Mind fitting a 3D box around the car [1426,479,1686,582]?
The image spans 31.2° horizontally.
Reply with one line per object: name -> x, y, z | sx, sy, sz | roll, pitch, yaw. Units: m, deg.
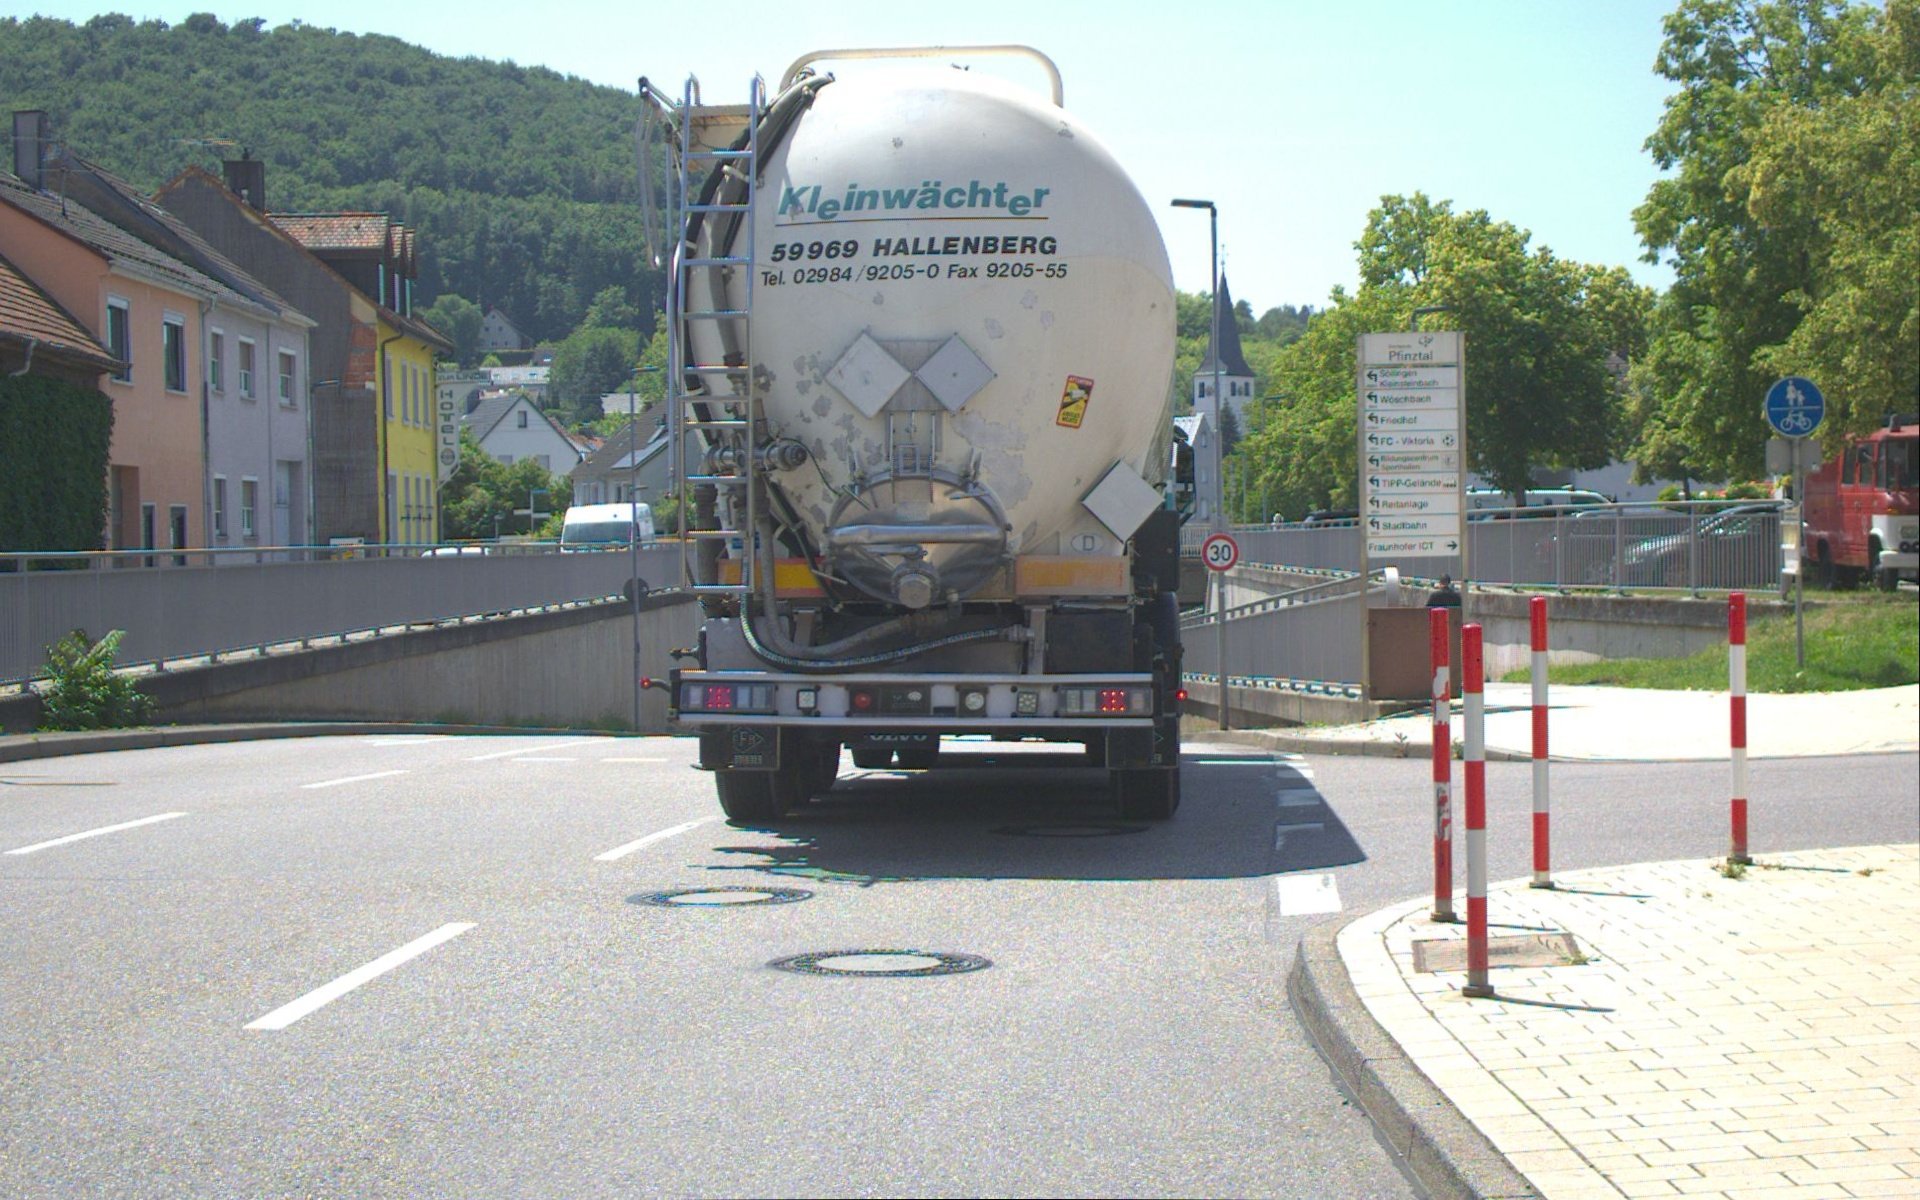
car -> 12.423, -1.445, 71.890 | 5.112, 2.056, 1.988 | -1, 1, 2

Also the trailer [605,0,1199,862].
trailer -> 0.122, -0.870, 22.430 | 2.735, 4.050, 13.311 | 0, 0, 3

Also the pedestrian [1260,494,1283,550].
pedestrian -> 9.837, -2.464, 108.588 | 0.673, 1.773, 0.594 | -1, 0, 3

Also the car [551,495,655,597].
car -> -9.266, -1.401, 89.633 | 2.065, 2.528, 5.661 | 1, 1, 0

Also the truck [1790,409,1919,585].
truck -> 13.331, -1.411, 48.196 | 2.132, 2.326, 5.260 | -1, 1, 0

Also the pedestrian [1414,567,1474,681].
pedestrian -> 7.693, 0.386, 54.660 | 0.836, 1.776, 0.788 | -1, -2, 1

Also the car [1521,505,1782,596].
car -> 11.963, -0.858, 59.658 | 4.205, 1.493, 1.686 | -1, 1, 2

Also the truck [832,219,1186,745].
truck -> 0.565, -0.926, 29.807 | 2.735, 4.050, 6.528 | 0, 0, 3

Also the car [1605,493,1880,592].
car -> 12.381, -0.908, 54.573 | 3.987, 1.493, 1.748 | -1, 1, 2
